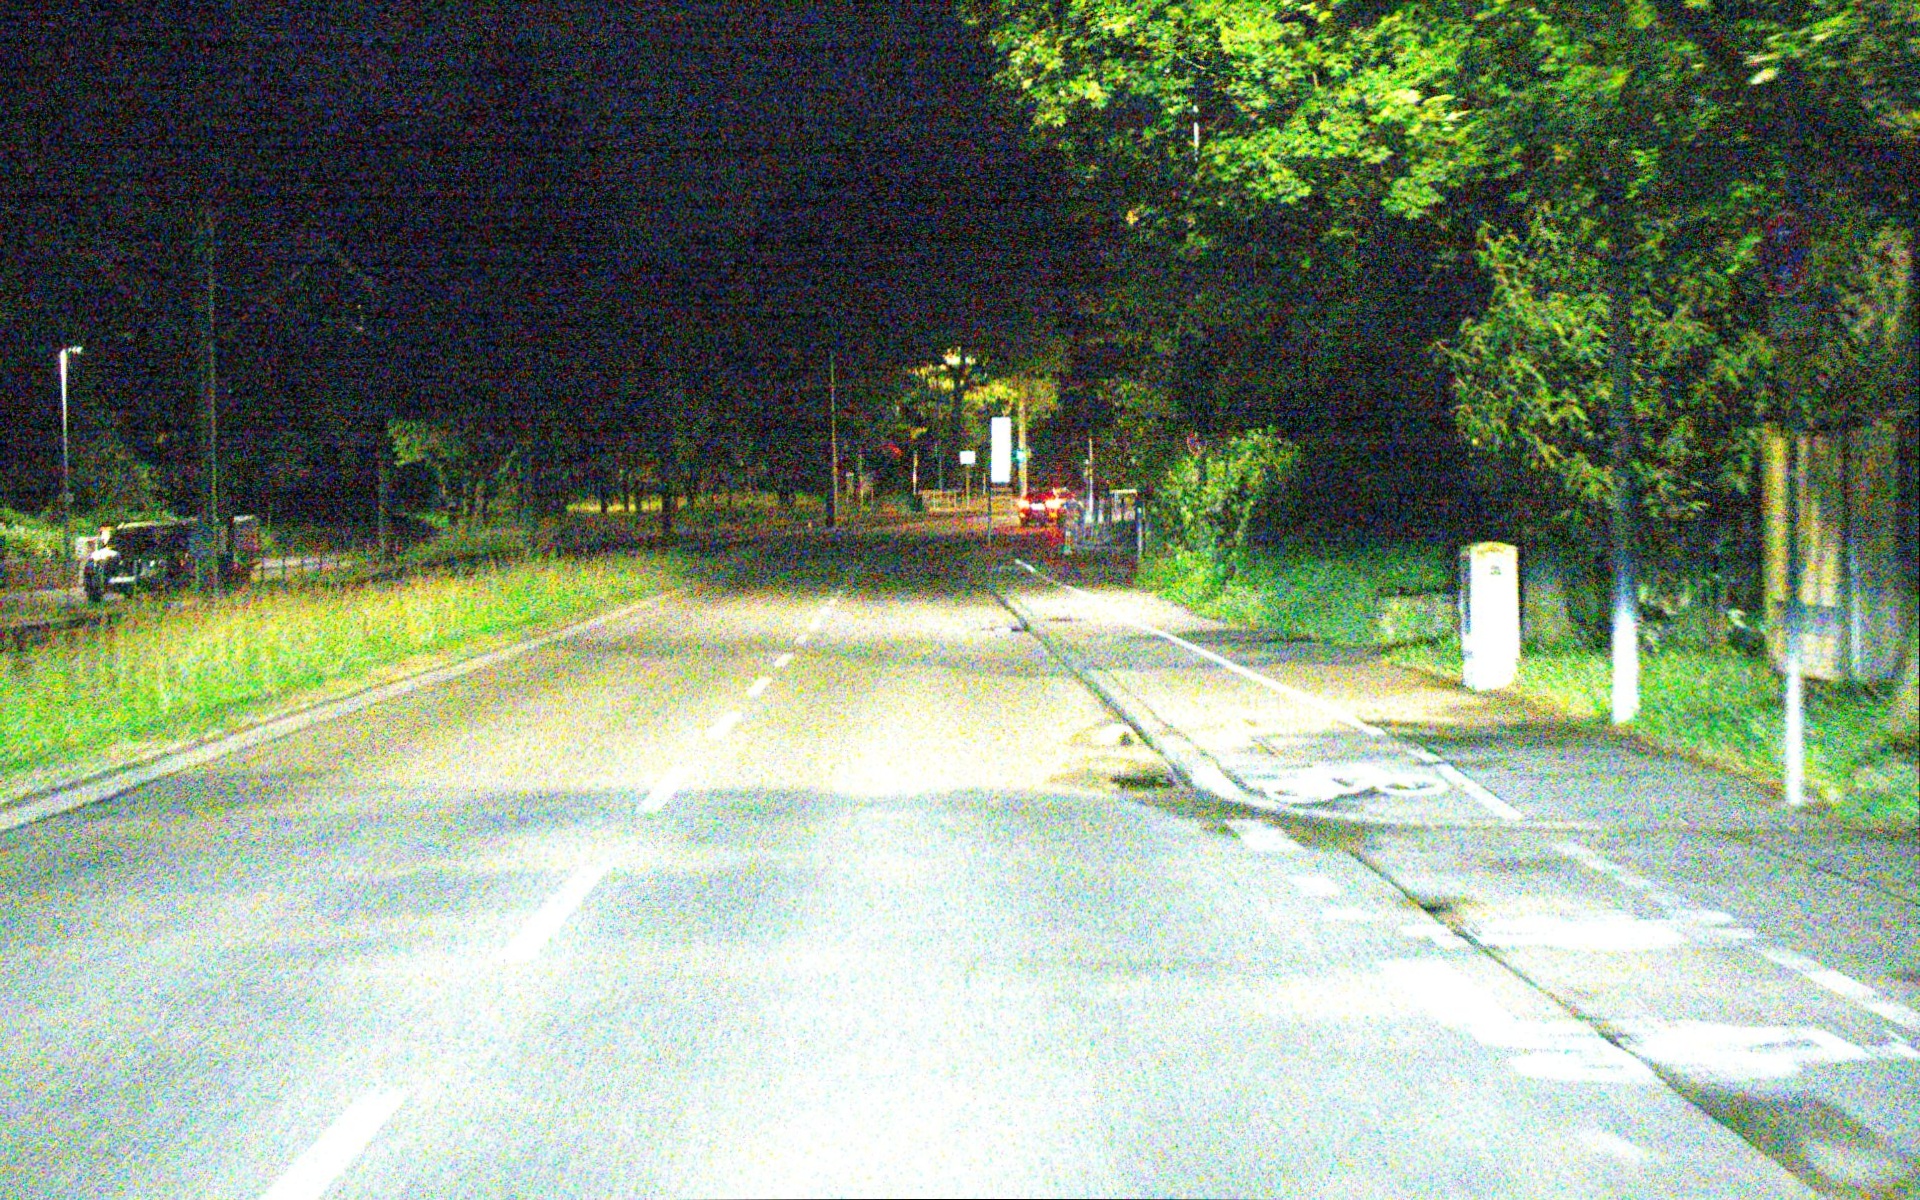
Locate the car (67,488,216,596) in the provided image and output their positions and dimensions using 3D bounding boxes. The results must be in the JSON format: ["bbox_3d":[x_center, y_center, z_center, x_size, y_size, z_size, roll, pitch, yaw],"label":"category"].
[{"bbox_3d":[-16.924,-1.236,71.275,2.091,2.006,4.001,-5,2,-2],"label":"car"}]

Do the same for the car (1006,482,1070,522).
[{"bbox_3d":[3.203,-3.984,140.130,2.162,1.577,4.012,0,1,8],"label":"car"}]
